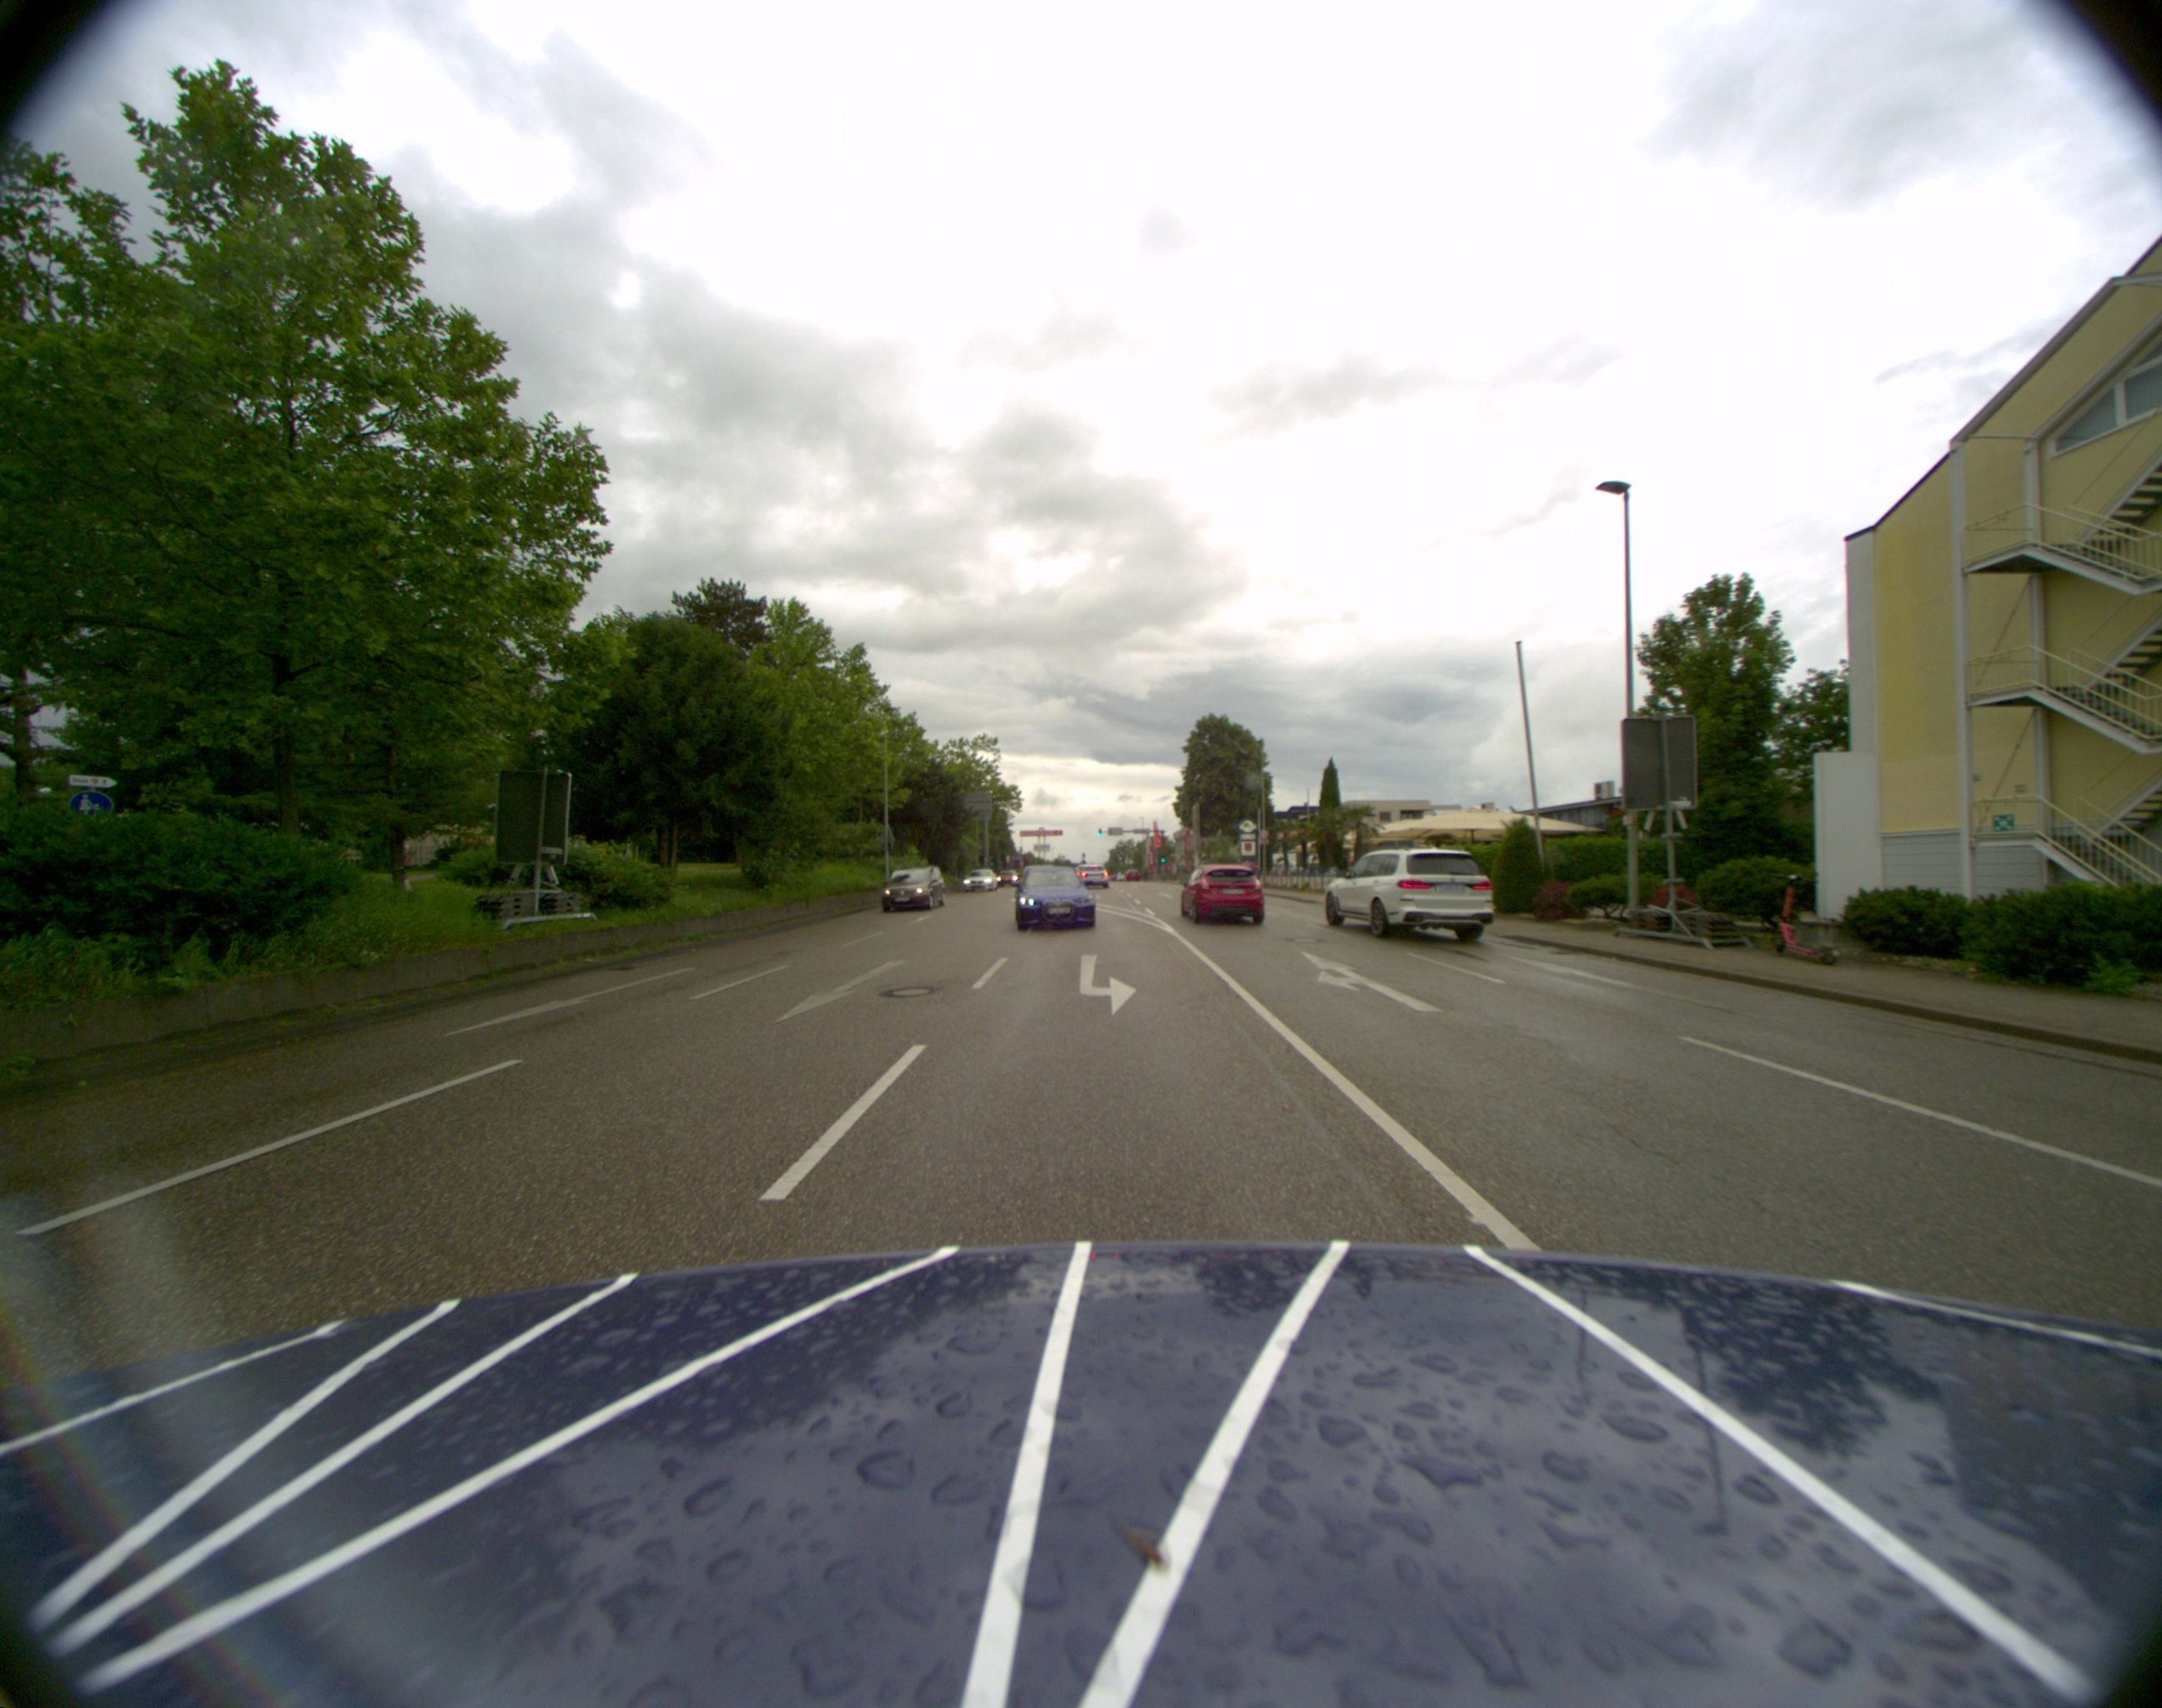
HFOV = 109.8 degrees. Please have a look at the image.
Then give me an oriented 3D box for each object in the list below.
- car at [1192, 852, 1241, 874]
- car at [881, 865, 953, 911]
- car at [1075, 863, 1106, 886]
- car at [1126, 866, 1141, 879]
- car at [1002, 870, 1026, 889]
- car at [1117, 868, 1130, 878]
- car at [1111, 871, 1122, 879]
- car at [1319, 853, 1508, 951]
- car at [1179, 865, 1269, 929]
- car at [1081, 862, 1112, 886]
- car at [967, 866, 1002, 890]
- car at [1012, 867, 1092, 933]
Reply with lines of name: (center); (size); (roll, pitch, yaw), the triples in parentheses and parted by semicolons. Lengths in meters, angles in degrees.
car: (13.190, 0.941, 73.950); (4.407, 2.001, 1.996); (2, -2, -27)
car: (-6.118, 1.259, 28.811); (1.751, 1.599, 3.982); (-2, -2, 1)
car: (0.621, 1.410, 53.464); (1.792, 1.571, 4.238); (-1, 0, -4)
car: (6.572, 2.321, 95.015); (1.641, 1.524, 3.972); (1, -1, 0)
car: (-5.535, 2.129, 63.237); (1.634, 1.447, 3.539); (-2, -2, -1)
car: (6.340, 2.764, 112.527); (1.640, 1.468, 4.047); (-1, -1, 7)
car: (6.042, 3.551, 130.281); (1.626, 1.323, 3.948); (0, -2, 0)
car: (6.892, 0.882, 16.493); (1.922, 1.752, 5.143); (1, 0, 1)
car: (3.595, 1.034, 19.703); (1.685, 1.411, 3.841); (1, 0, 1)
car: (0.964, 1.262, 49.187); (1.754, 1.499, 4.301); (0, 0, -3)
car: (-6.459, 1.609, 51.278); (1.784, 1.447, 4.681); (-2, -2, -1)
car: (-0.673, 1.121, 19.563); (1.784, 1.447, 4.598); (-2, -2, -1)
